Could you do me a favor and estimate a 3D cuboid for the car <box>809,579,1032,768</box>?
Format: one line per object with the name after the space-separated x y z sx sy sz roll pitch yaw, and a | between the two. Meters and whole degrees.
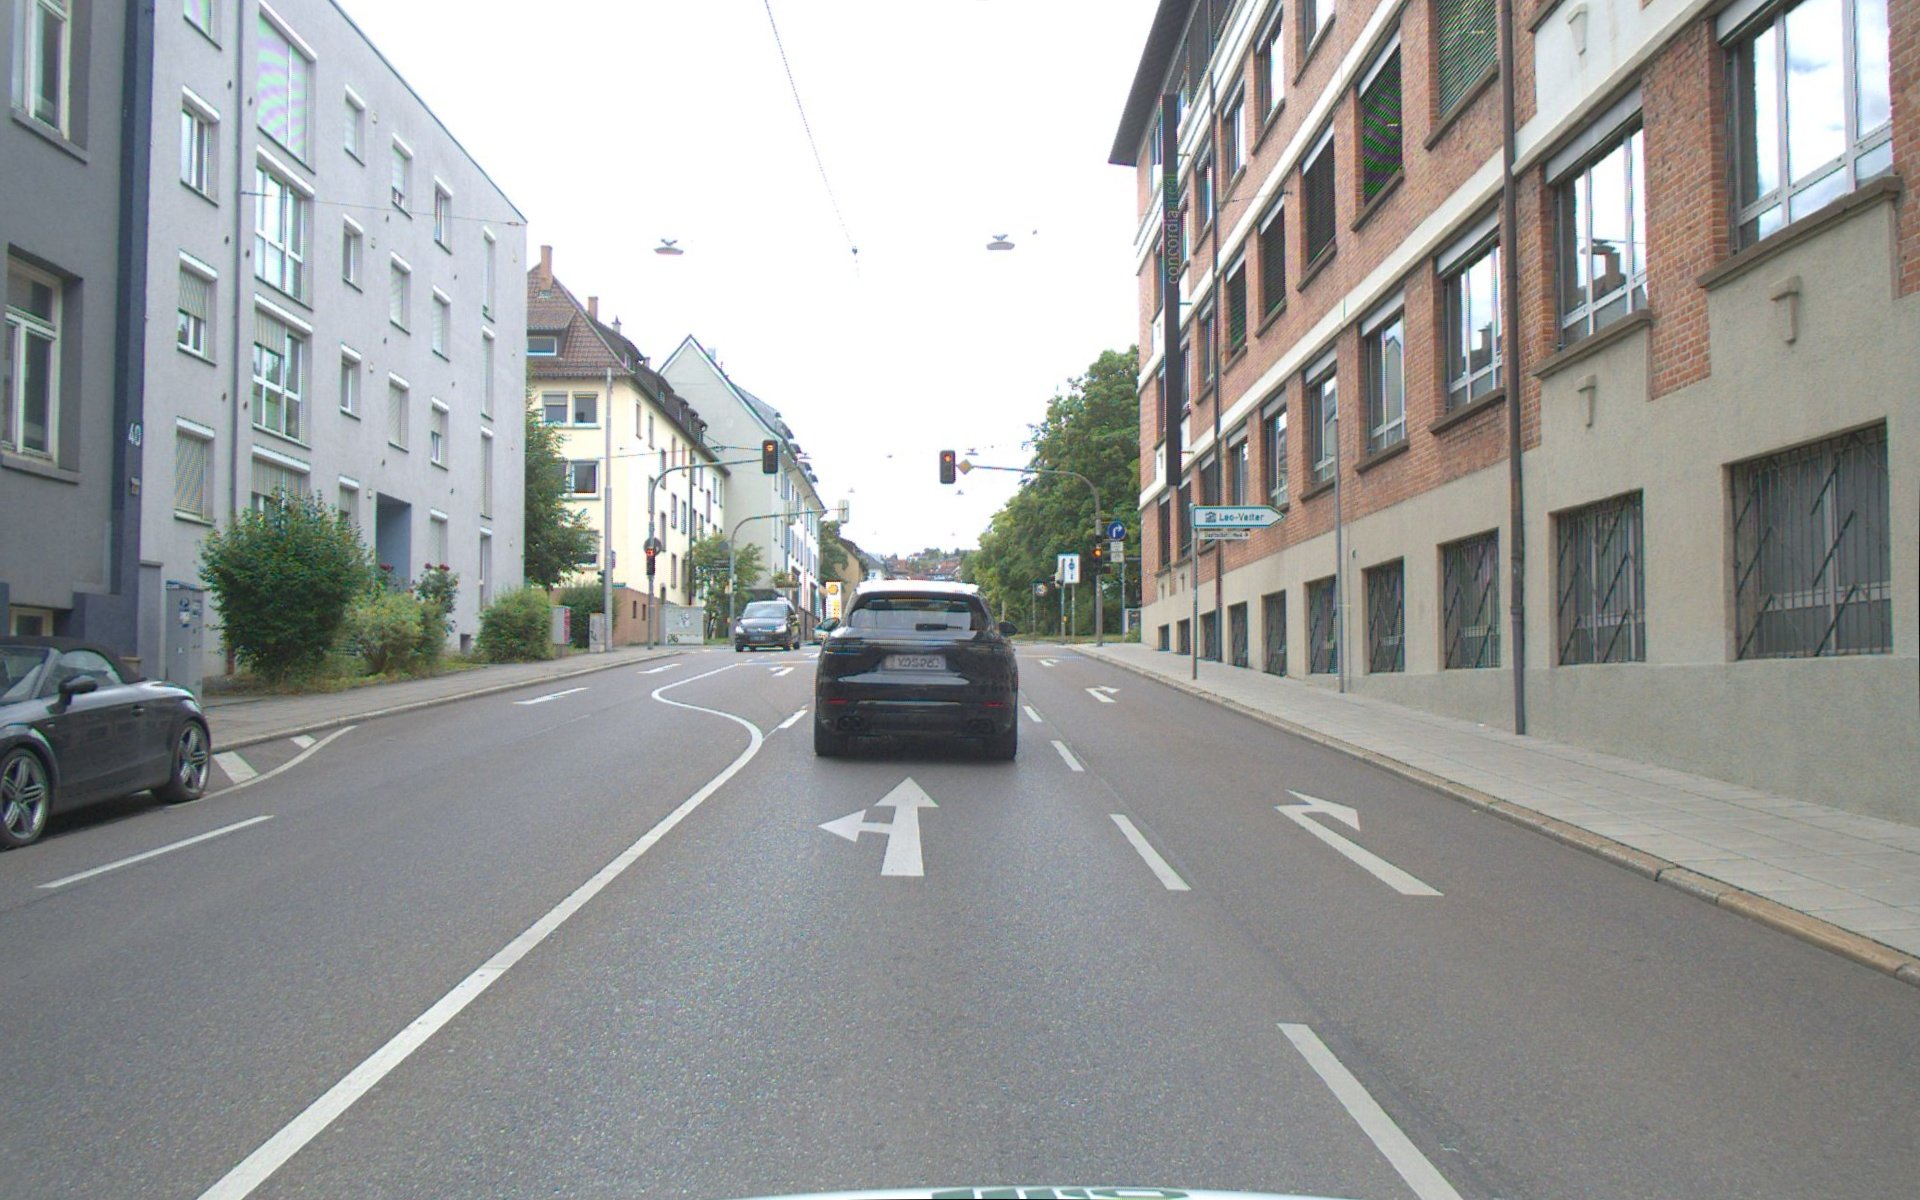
-0.520 0.670 17.130 1.984 1.670 4.351 1 0 -5 | car

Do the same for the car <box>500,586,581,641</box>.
-14.222 0.447 56.266 1.807 1.721 3.998 -3 0 -2 | car

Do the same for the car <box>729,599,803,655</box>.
-6.374 0.860 54.734 1.858 1.721 4.000 -3 0 1 | car

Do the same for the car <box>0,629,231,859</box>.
-6.858 0.963 11.700 1.679 1.364 3.903 -2 0 -1 | car
